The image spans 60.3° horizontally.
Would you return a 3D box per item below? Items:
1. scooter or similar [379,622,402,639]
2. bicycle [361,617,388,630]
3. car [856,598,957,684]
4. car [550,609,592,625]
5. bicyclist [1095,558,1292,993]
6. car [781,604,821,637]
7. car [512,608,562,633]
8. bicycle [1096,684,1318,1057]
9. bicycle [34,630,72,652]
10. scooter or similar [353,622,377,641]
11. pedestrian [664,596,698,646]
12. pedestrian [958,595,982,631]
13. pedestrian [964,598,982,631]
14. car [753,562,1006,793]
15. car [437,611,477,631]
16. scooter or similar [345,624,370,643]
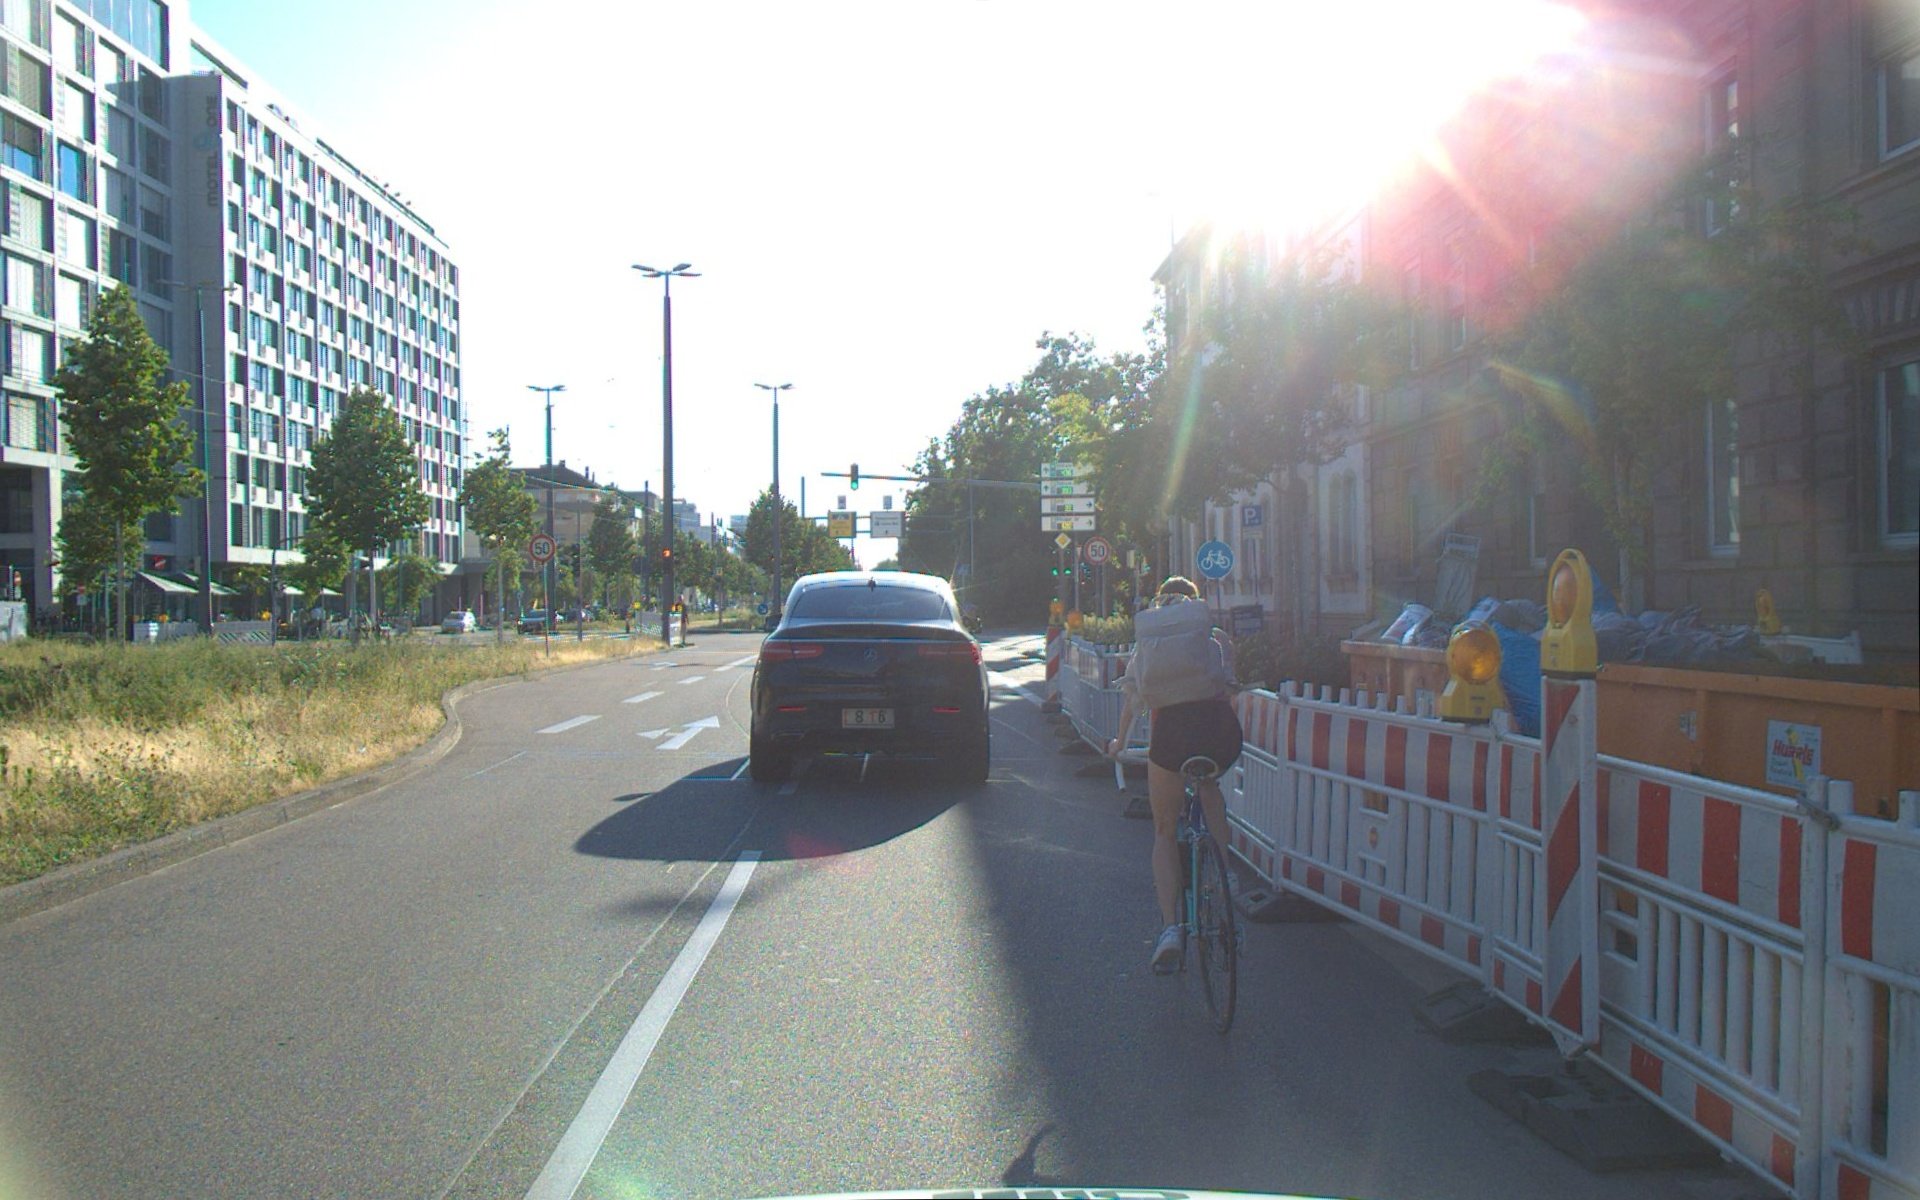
[{"bbox_3d":[-35.225,1.871,102.263,1.218,1.037,0.435,-1,0,-2],"label":"scooter or similar"},{"bbox_3d":[-43.221,1.732,122.163,1.770,0.921,0.511,-1,0,-9],"label":"bicycle"},{"bbox_3d":[-1.080,0.748,32.423,1.859,1.554,4.056,0,0,-3],"label":"car"},{"bbox_3d":[-37.751,1.671,160.574,3.596,1.550,1.595,2,-1,-43],"label":"car"},{"bbox_3d":[0.868,0.613,6.367,0.541,1.517,1.080,-1,0,-3],"label":"bicyclist"},{"bbox_3d":[-8.035,1.012,84.040,1.848,1.608,3.998,0,1,-3],"label":"car"},{"bbox_3d":[-24.767,1.201,96.993,1.853,1.367,4.847,-1,0,-3],"label":"car"},{"bbox_3d":[0.896,0.943,6.409,0.510,1.116,1.842,-1,0,-2],"label":"bicycle"},{"bbox_3d":[-42.266,1.897,77.101,0.606,0.952,2.215,-1,0,-3],"label":"bicycle"},{"bbox_3d":[-35.135,1.864,97.721,1.218,1.037,0.435,-1,0,-2],"label":"scooter or similar"},{"bbox_3d":[-9.495,0.702,56.312,0.904,1.678,0.766,-1,0,10],"label":"pedestrian"},{"bbox_3d":[0.537,0.687,86.955,0.850,1.833,0.895,-3,0,-37],"label":"pedestrian"},{"bbox_3d":[0.679,0.759,86.138,0.753,1.665,0.768,-3,0,-12],"label":"pedestrian"},{"bbox_3d":[-0.853,0.570,14.725,1.956,1.765,3.994,0,1,-7],"label":"car"},{"bbox_3d":[-35.750,1.484,117.710,1.721,1.351,3.998,0,0,-2],"label":"car"},{"bbox_3d":[-35.052,1.961,96.196,1.218,1.037,0.510,-1,0,-2],"label":"scooter or similar"}]
